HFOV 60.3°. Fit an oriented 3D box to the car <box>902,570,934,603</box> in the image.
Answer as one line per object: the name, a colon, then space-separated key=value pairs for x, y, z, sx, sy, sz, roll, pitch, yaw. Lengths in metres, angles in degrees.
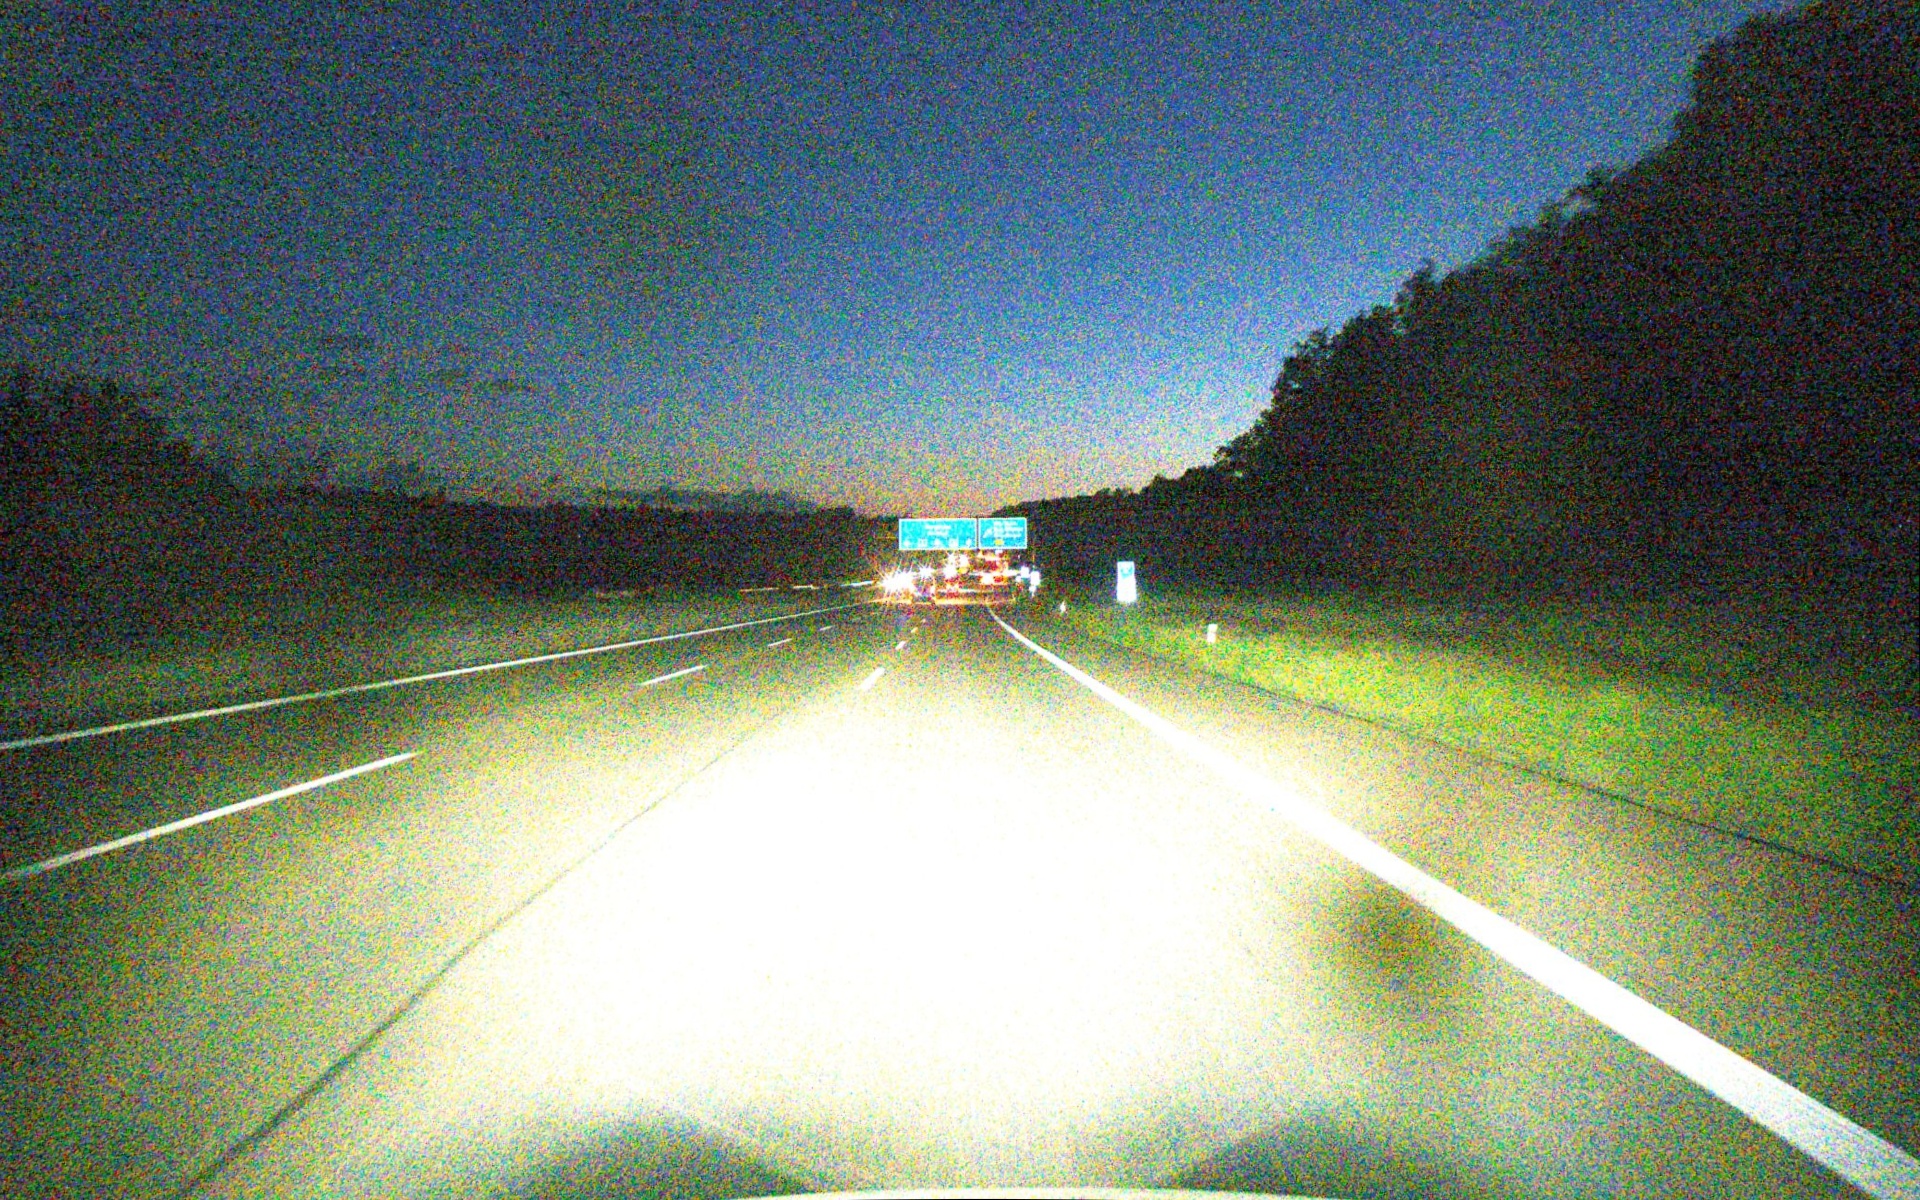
car: x=-3.577 y=-1.107 z=142.883 sx=2.730 sy=2.781 sz=6.297 roll=0 pitch=0 yaw=-1

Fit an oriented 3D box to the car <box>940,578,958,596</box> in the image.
car: x=-1.784 y=-2.088 z=260.941 sx=2.730 sy=2.781 sz=6.297 roll=0 pitch=0 yaw=-1
